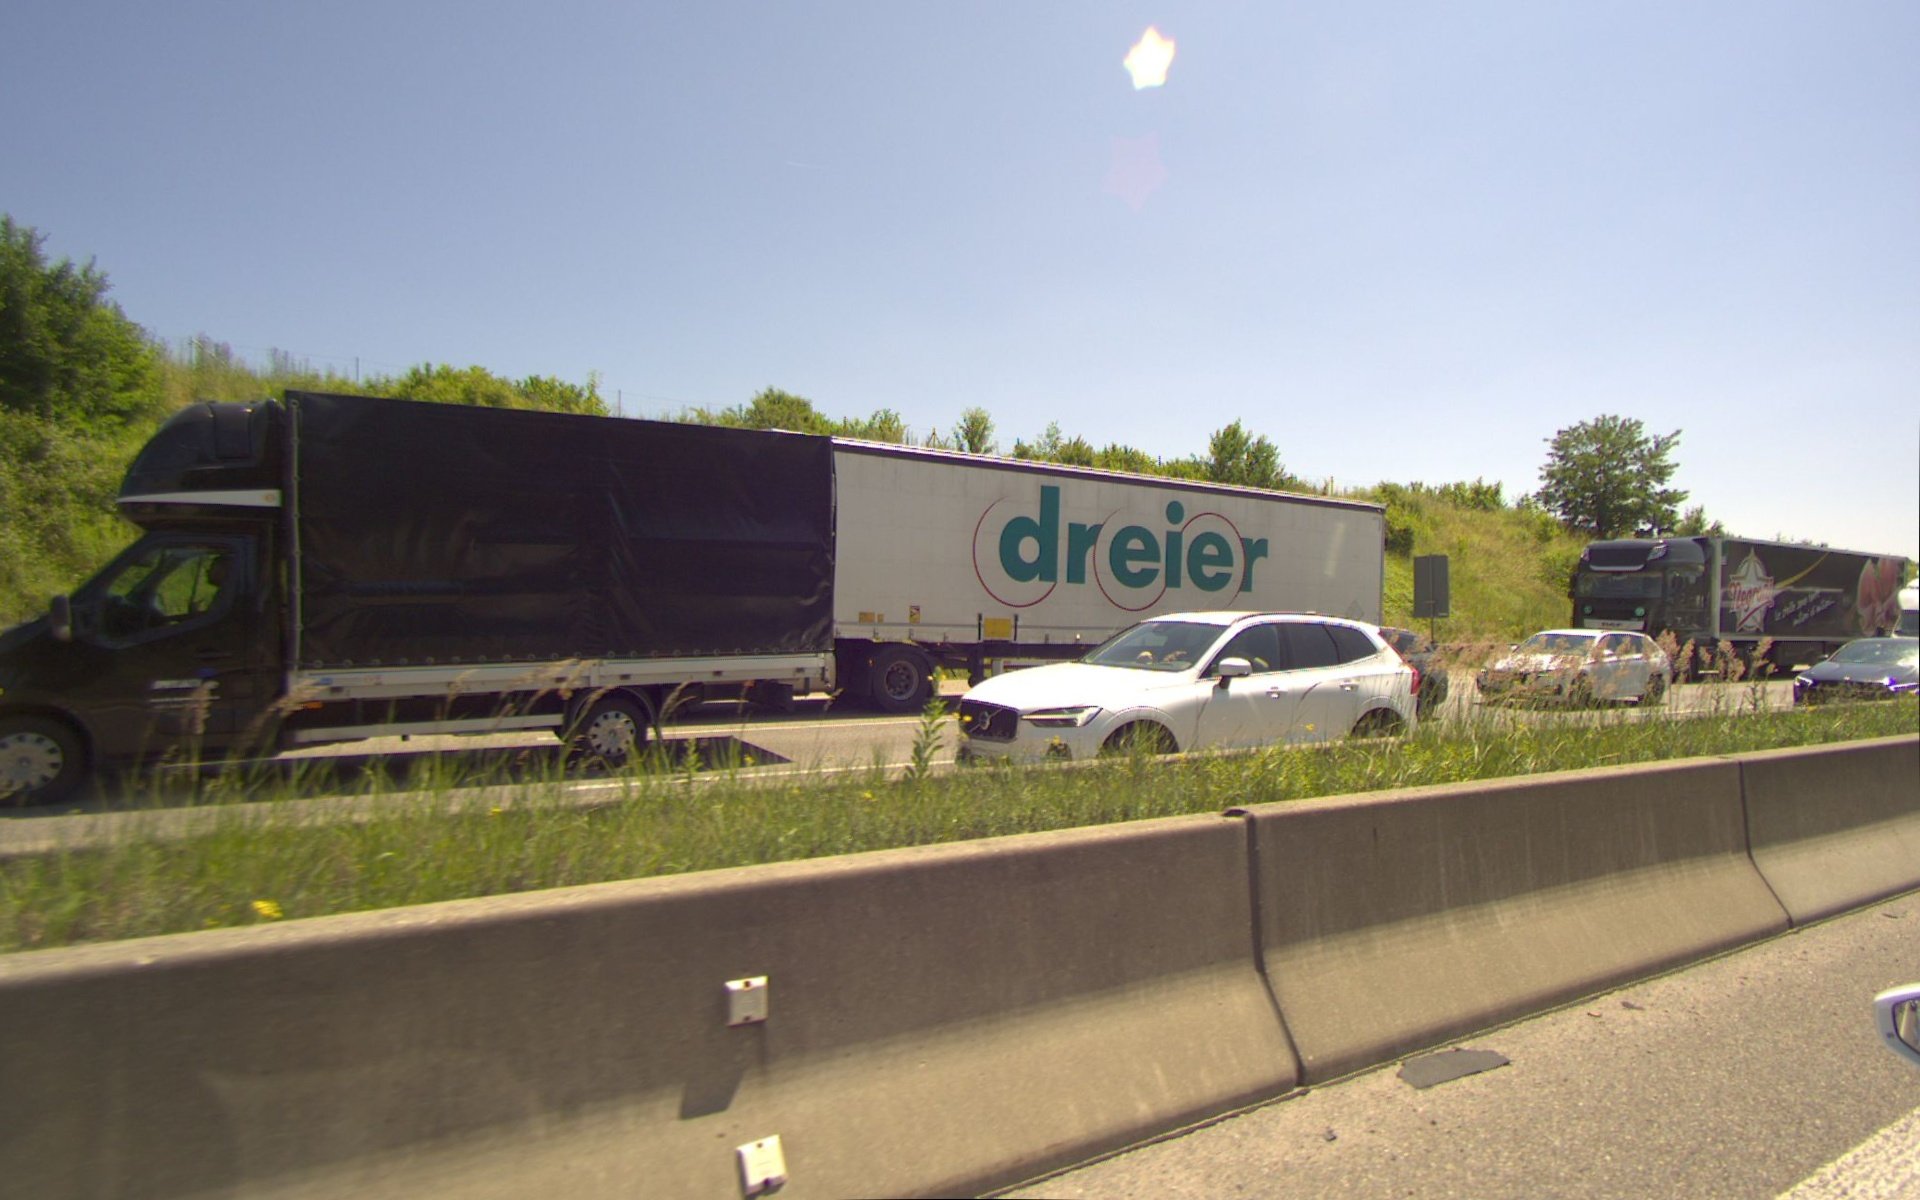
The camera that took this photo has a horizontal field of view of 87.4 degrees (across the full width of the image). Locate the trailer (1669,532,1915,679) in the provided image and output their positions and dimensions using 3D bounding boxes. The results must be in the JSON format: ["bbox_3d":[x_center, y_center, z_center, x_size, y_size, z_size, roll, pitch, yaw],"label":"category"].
[{"bbox_3d":[27.829,0.304,33.375,10.666,4.297,2.776,2,0,-30],"label":"trailer"}]

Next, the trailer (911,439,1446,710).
[{"bbox_3d":[4.832,-0.242,20.192,11.568,4.362,2.769,2,-1,-29],"label":"trailer"}]

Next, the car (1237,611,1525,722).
[{"bbox_3d":[6.922,1.032,16.371,4.773,1.557,1.803,2,0,-30],"label":"car"}]

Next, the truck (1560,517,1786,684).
[{"bbox_3d":[20.832,0.124,29.248,6.947,4.362,2.768,2,-1,-30],"label":"truck"}]

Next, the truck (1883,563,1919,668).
[{"bbox_3d":[40.778,0.693,41.035,6.069,4.182,2.787,2,0,-30],"label":"truck"}]

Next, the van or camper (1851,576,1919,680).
[{"bbox_3d":[30.760,0.906,30.740,8.018,2.987,2.828,2,0,-30],"label":"van or camper"}]

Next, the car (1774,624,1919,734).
[{"bbox_3d":[16.534,1.309,17.650,4.971,1.655,1.803,2,0,-30],"label":"car"}]

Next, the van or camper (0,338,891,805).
[{"bbox_3d":[-4.803,-0.124,10.005,7.847,3.404,2.518,2,0,-29],"label":"van or camper"}]

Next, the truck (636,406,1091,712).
[{"bbox_3d":[-1.474,-0.445,16.608,6.945,4.168,2.769,2,-1,-29],"label":"truck"}]

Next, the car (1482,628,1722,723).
[{"bbox_3d":[12.372,1.386,19.269,4.939,1.564,1.803,2,0,-30],"label":"car"}]

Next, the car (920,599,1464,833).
[{"bbox_3d":[2.254,0.895,9.217,4.971,1.655,1.803,2,0,-30],"label":"car"}]
